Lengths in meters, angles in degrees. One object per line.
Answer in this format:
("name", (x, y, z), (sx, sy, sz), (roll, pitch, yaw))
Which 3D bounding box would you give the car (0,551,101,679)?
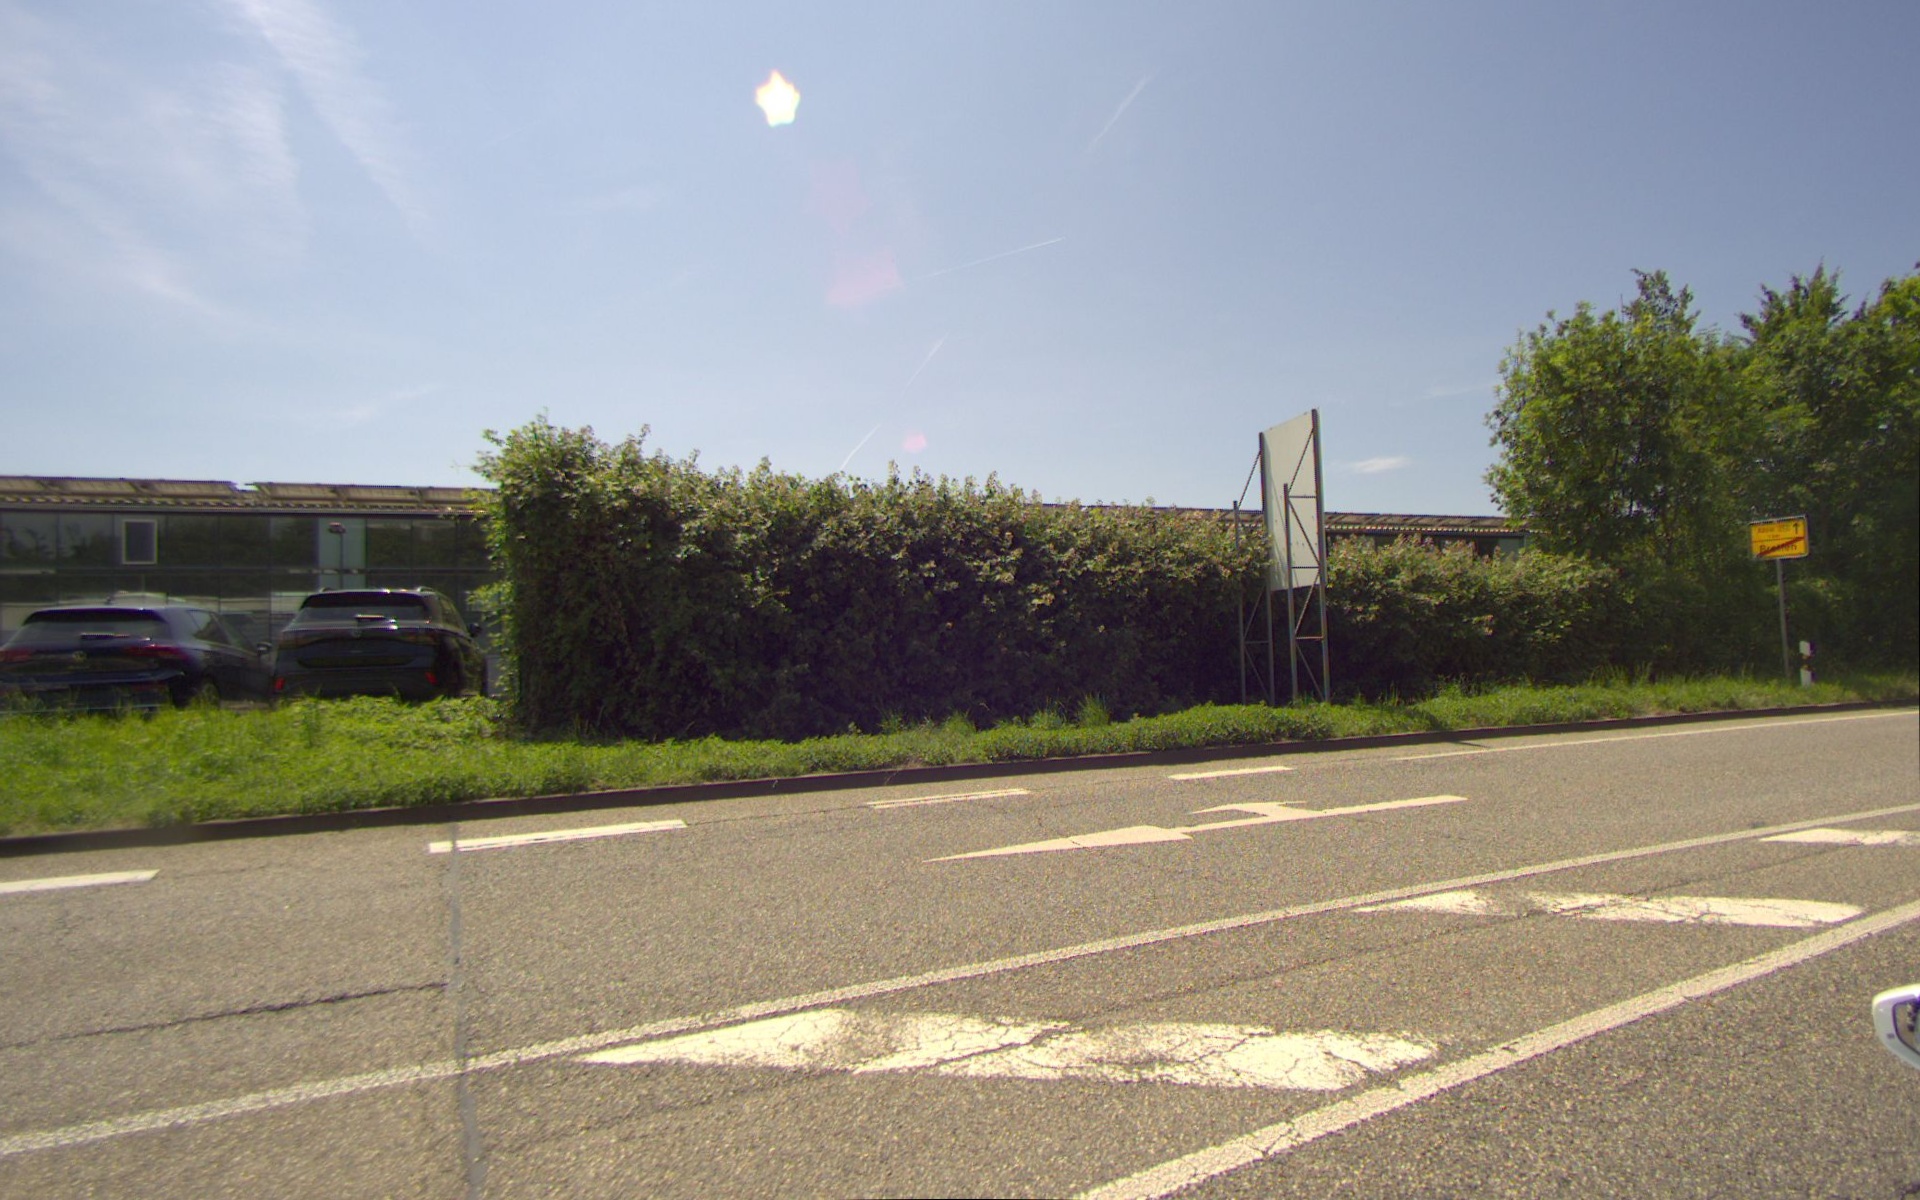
("car", (-11.071, 0.142, 10.686), (1.807, 1.335, 3.977), (1, 0, -23))

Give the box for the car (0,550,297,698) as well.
("car", (-9.092, 0.345, 11.530), (1.795, 1.380, 3.979), (0, -3, -24))

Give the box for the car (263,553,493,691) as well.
("car", (-6.830, 0.226, 12.183), (1.776, 1.391, 3.691), (1, 0, -20))
